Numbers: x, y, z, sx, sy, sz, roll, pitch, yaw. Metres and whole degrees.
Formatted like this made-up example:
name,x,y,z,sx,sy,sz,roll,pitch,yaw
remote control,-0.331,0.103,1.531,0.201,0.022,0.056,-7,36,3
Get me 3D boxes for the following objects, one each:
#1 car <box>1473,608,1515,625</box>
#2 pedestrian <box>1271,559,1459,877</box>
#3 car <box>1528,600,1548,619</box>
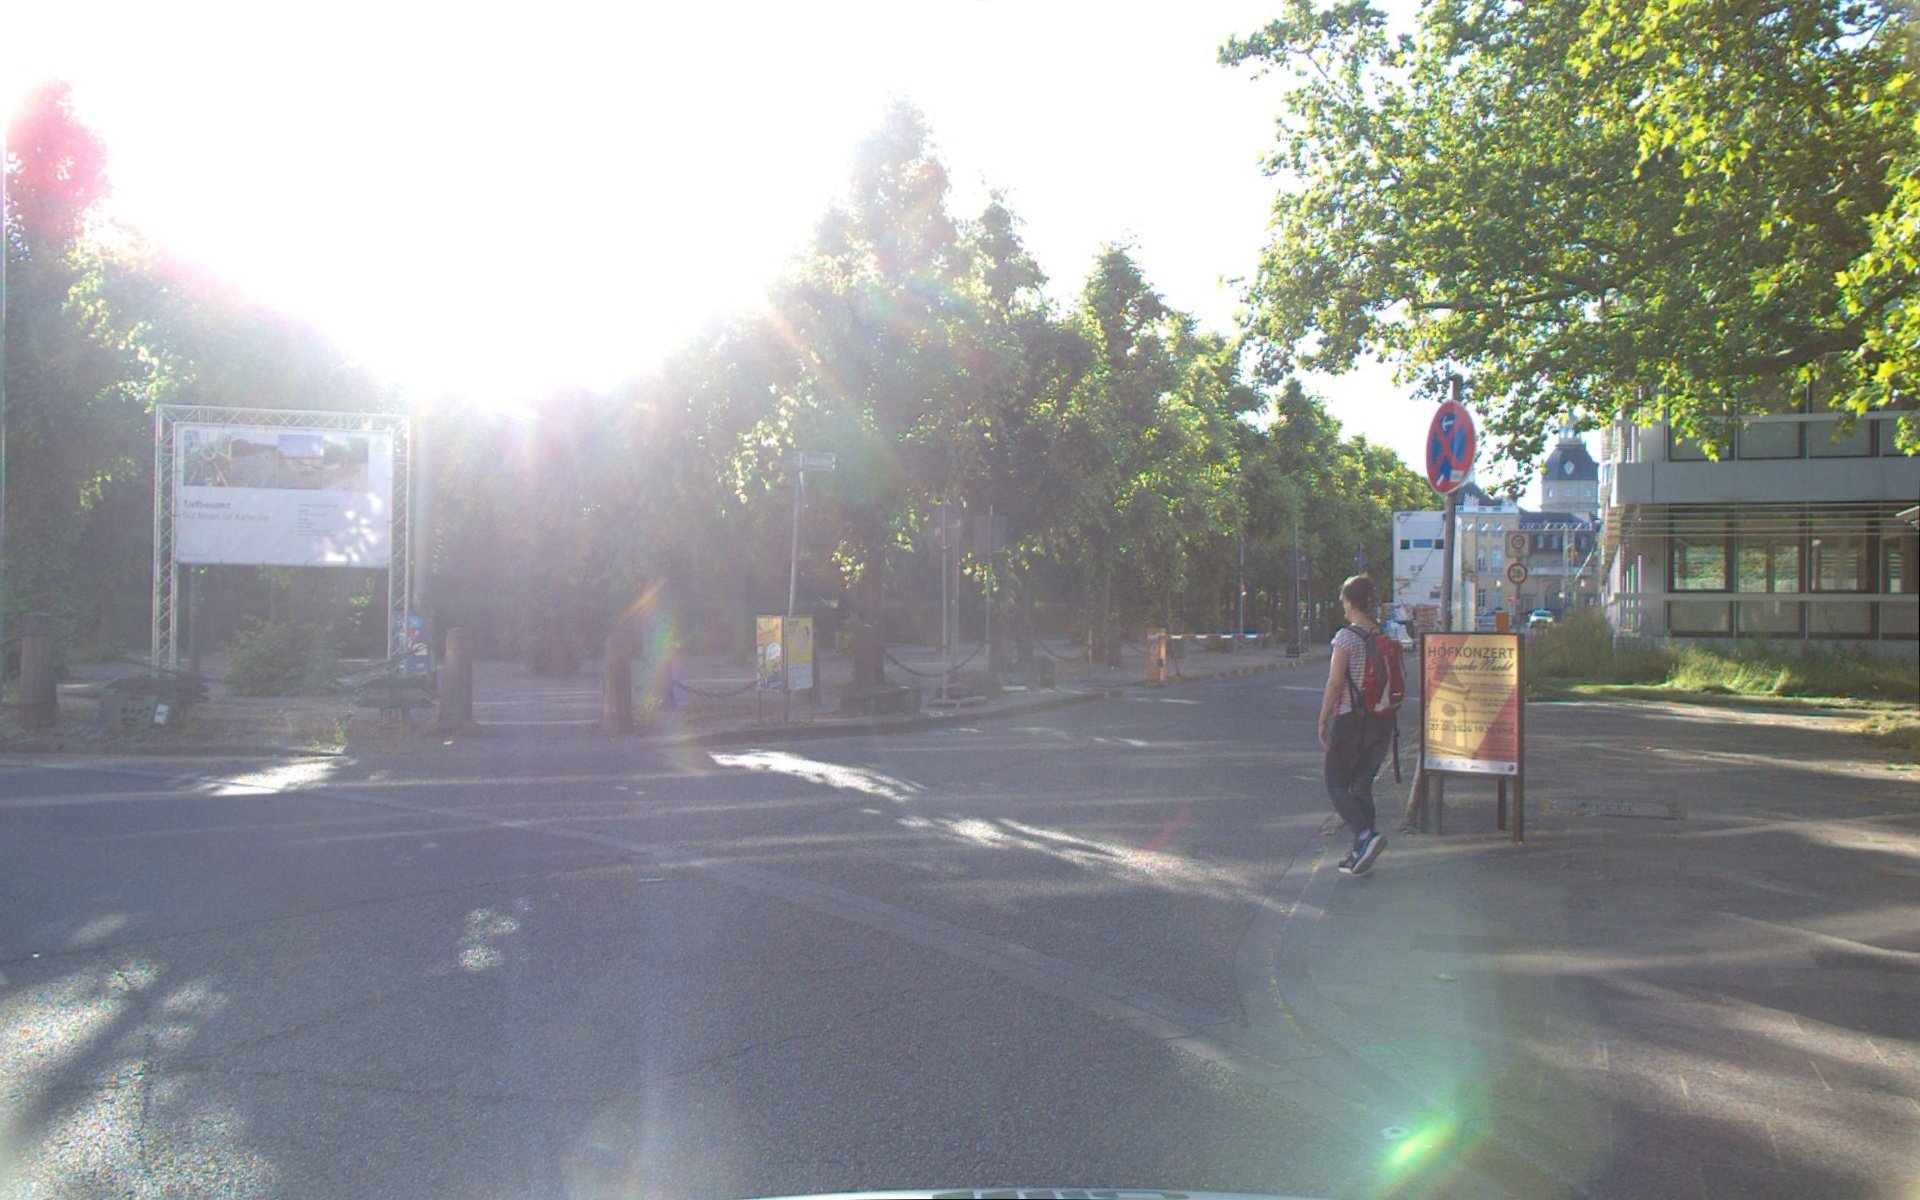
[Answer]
name,x,y,z,sx,sy,sz,roll,pitch,yaw
car,60.118,1.848,186.113,4.463,1.822,2.000,1,0,20
pedestrian,2.212,0.621,9.122,0.695,1.652,0.937,1,-1,-10
car,47.561,0.789,136.088,1.424,1.525,4.001,0,0,20
